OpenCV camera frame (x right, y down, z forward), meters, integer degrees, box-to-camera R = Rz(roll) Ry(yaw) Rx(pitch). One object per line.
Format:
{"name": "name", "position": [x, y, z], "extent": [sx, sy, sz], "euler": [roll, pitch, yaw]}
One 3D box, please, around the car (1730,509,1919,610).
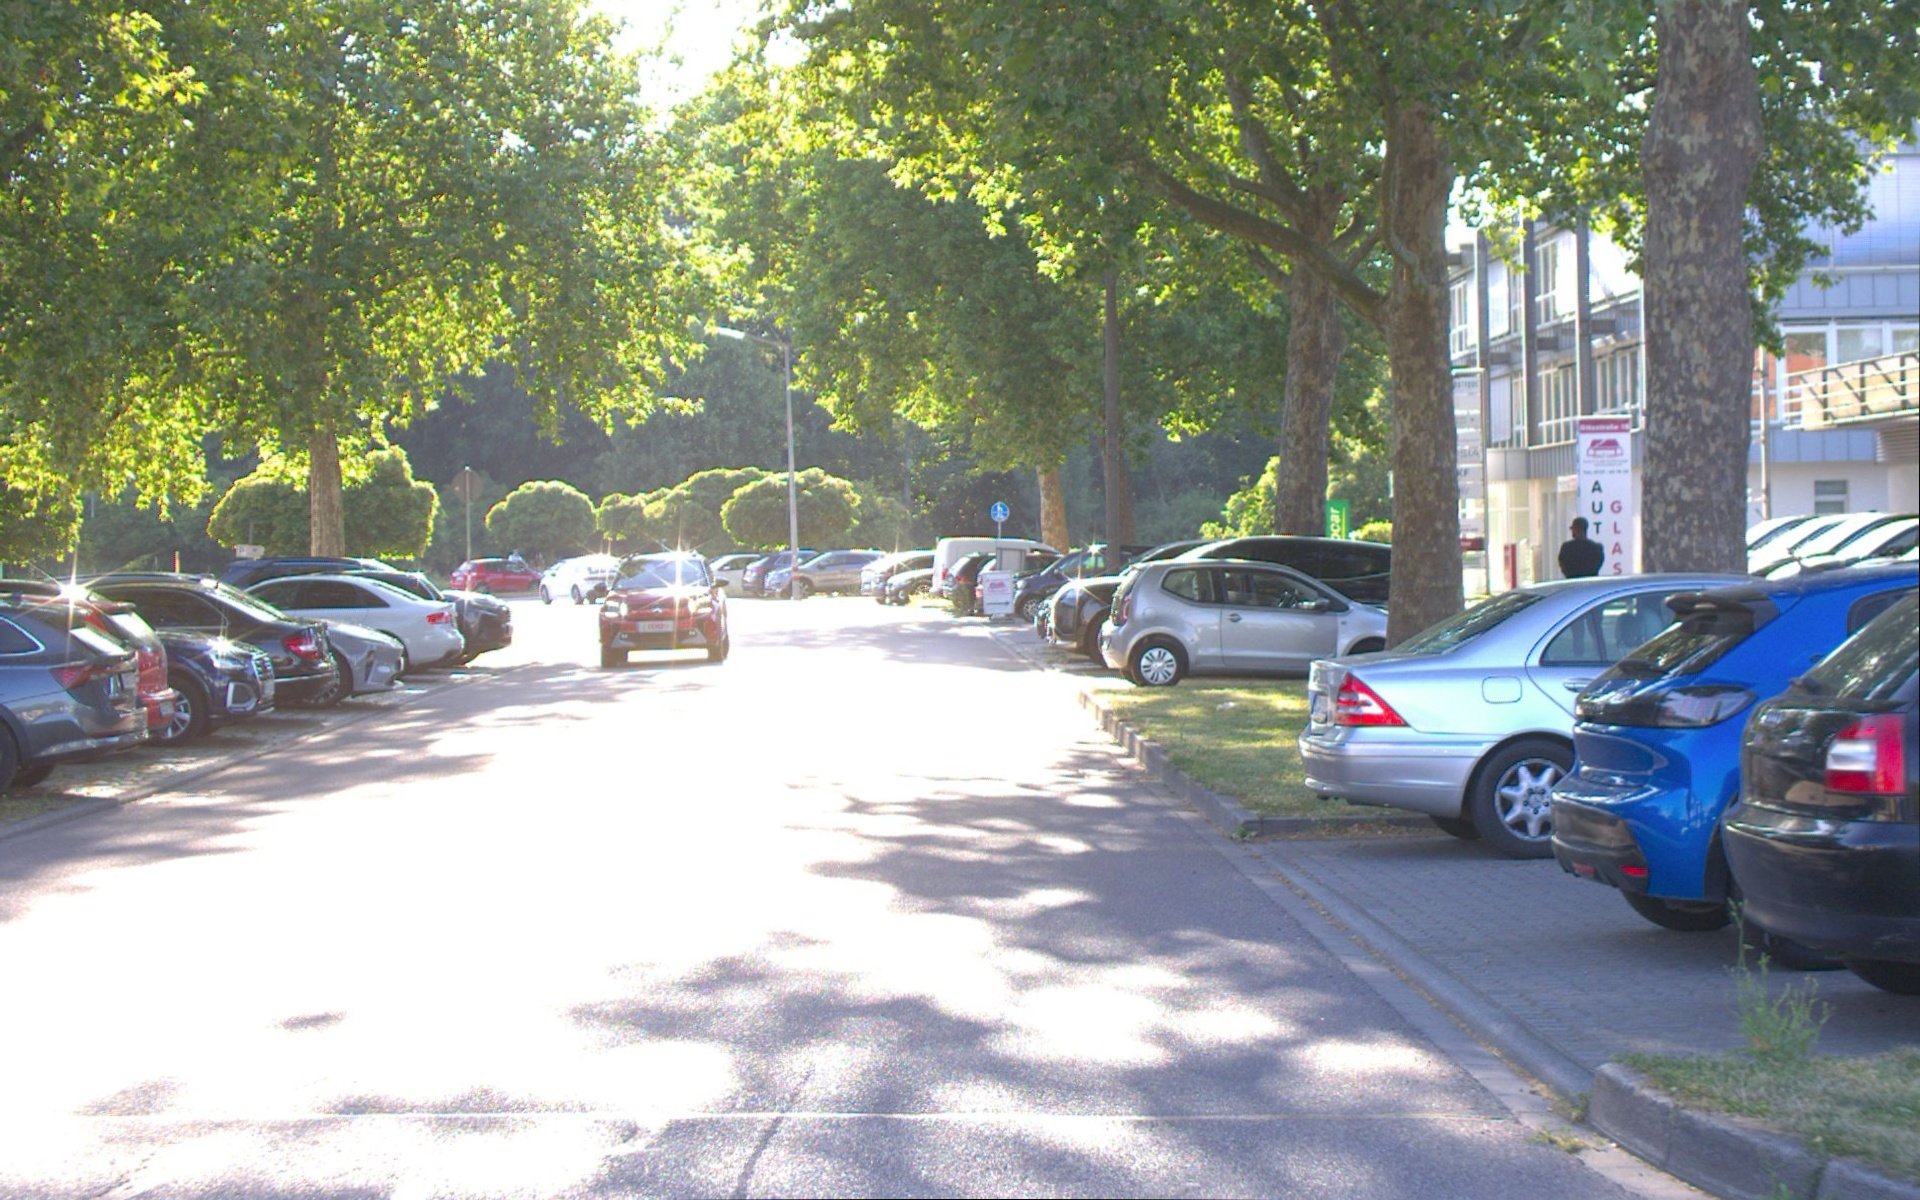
{"name": "car", "position": [14.190, -0.631, 53.375], "extent": [3.986, 1.541, 2.000], "euler": [0, 1, -2]}

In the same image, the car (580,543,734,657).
{"name": "car", "position": [-4.468, -0.029, 51.190], "extent": [1.993, 1.603, 4.000], "euler": [1, 1, -1]}

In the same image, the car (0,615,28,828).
{"name": "car", "position": [-8.627, 0.829, 22.875], "extent": [4.414, 1.398, 2.000], "euler": [0, 1, -6]}

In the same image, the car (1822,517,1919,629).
{"name": "car", "position": [14.379, -0.395, 48.352], "extent": [3.986, 1.541, 2.000], "euler": [0, 1, -2]}

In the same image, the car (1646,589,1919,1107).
{"name": "car", "position": [4.369, 0.653, 10.764], "extent": [3.987, 1.411, 2.000], "euler": [-2, 1, -1]}

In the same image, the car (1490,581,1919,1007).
{"name": "car", "position": [4.192, 0.639, 13.052], "extent": [3.987, 1.411, 2.000], "euler": [-2, 1, -1]}

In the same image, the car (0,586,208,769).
{"name": "car", "position": [-8.942, 0.650, 29.870], "extent": [4.415, 1.511, 2.000], "euler": [0, 1, -2]}

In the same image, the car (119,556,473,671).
{"name": "car", "position": [-8.972, 0.167, 46.730], "extent": [4.415, 1.511, 2.000], "euler": [0, 1, 1]}

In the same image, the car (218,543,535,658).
{"name": "car", "position": [-8.750, -0.012, 51.801], "extent": [4.415, 1.691, 2.000], "euler": [0, 1, 1]}

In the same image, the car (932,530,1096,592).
{"name": "car", "position": [1.330, -0.971, 85.967], "extent": [3.987, 1.411, 1.827], "euler": [-2, 1, -1]}

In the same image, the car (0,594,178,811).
{"name": "car", "position": [-8.179, 0.729, 25.336], "extent": [4.415, 1.511, 2.000], "euler": [0, 1, -2]}

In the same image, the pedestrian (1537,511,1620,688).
{"name": "pedestrian", "position": [7.055, -0.012, 39.247], "extent": [0.851, 2.007, 0.779], "euler": [0, 1, 4]}

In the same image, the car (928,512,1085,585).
{"name": "car", "position": [1.195, -1.346, 89.656], "extent": [3.987, 1.770, 1.827], "euler": [-2, 1, -1]}

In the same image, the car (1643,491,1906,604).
{"name": "car", "position": [13.872, -0.904, 58.721], "extent": [3.986, 1.899, 2.000], "euler": [0, 1, -2]}

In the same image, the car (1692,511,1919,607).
{"name": "car", "position": [14.109, -0.673, 55.785], "extent": [3.986, 1.541, 2.000], "euler": [0, 1, -2]}

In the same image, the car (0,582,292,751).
{"name": "car", "position": [-8.645, 0.606, 32.361], "extent": [4.415, 1.511, 2.000], "euler": [0, 1, -4]}

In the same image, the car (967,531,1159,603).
{"name": "car", "position": [2.181, -0.716, 73.557], "extent": [3.987, 1.411, 1.827], "euler": [-2, 1, -1]}

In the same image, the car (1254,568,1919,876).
{"name": "car", "position": [3.654, 0.595, 18.100], "extent": [3.987, 1.411, 1.827], "euler": [-2, 1, -1]}

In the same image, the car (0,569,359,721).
{"name": "car", "position": [-8.619, 0.441, 35.603], "extent": [4.415, 1.511, 2.000], "euler": [0, 1, 1]}

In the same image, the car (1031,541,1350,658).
{"name": "car", "position": [2.978, -0.021, 44.951], "extent": [3.987, 1.376, 1.827], "euler": [-2, 1, -1]}

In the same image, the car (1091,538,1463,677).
{"name": "car", "position": [3.544, 0.066, 38.977], "extent": [3.987, 1.411, 1.827], "euler": [-2, 1, -1]}

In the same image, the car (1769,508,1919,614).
{"name": "car", "position": [14.222, -0.588, 50.911], "extent": [3.986, 1.541, 2.000], "euler": [0, 1, -2]}
